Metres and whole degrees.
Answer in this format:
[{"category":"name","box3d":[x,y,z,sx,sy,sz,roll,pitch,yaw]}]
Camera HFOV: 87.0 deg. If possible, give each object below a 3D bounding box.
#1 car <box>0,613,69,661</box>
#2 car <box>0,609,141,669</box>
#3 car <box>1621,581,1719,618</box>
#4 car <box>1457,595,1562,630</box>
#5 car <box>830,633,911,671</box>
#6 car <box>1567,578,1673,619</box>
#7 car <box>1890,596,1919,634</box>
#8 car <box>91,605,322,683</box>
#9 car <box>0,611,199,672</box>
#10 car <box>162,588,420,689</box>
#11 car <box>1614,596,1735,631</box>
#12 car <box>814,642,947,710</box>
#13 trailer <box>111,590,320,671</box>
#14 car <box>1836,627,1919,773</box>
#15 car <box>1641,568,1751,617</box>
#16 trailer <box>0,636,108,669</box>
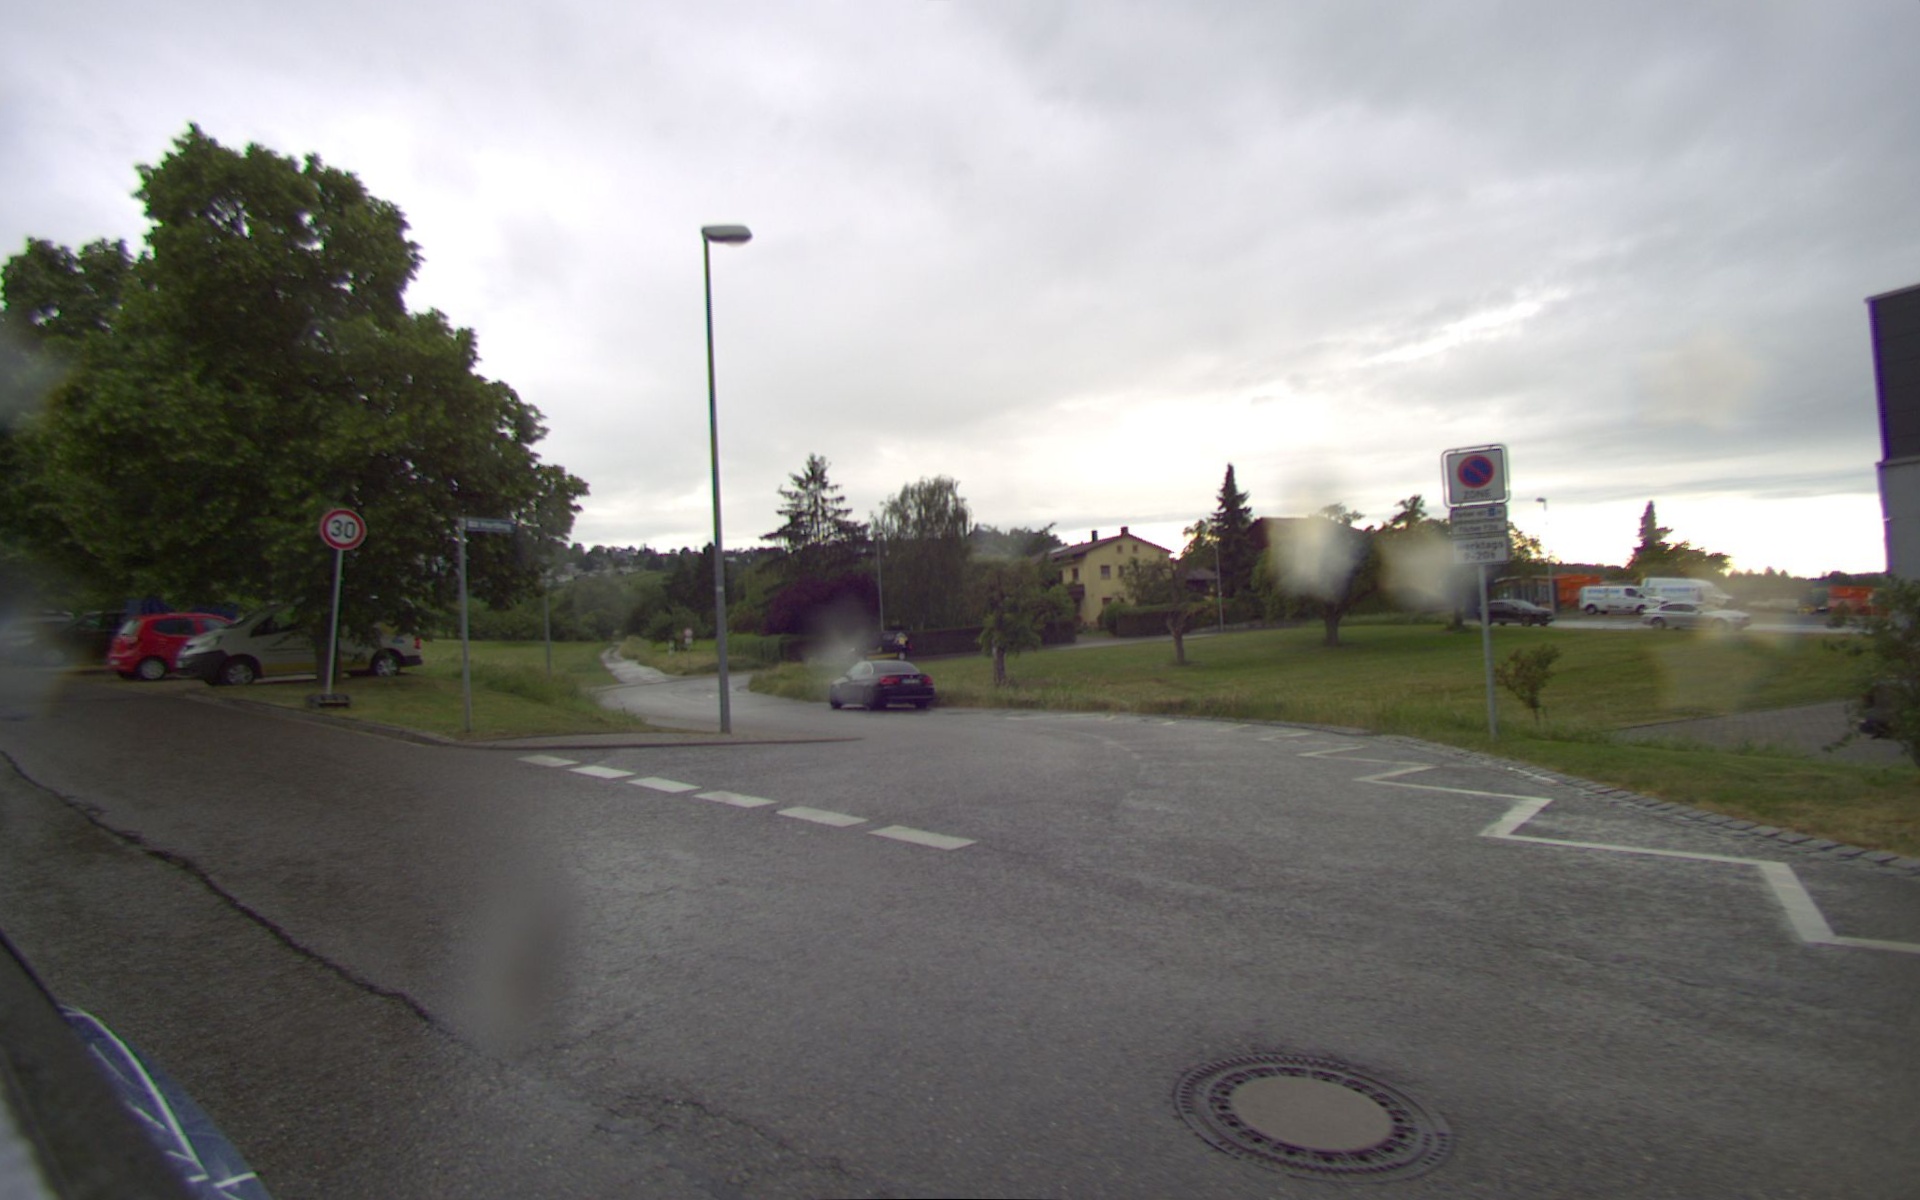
[{"category":"car","box3d":[-35.437,1.316,36.691,2.038,1.735,4.333,0,-1,33]},{"category":"car","box3d":[-28.905,1.191,32.228,2.023,1.734,4.035,-1,1,38]},{"category":"car","box3d":[51.093,0.012,72.984,1.966,2.589,5.447,1,-1,-31]},{"category":"car","box3d":[33.959,0.786,62.772,2.251,1.990,5.440,2,-2,-25]},{"category":"car","box3d":[-5.402,3.138,61.129,4.426,2.237,1.935,3,-3,-31]},{"category":"car","box3d":[45.902,-0.081,70.520,1.966,2.722,5.828,-1,0,-32]},{"category":"car","box3d":[49.716,0.701,51.368,4.637,1.869,2.287,-1,-2,-29]},{"category":"car","box3d":[-18.191,1.020,24.631,1.750,1.735,4.161,0,-1,34]},{"category":"car","box3d":[-26.414,1.212,31.037,1.803,1.602,4.575,-1,1,37]},{"category":"car","box3d":[-14.157,0.788,21.589,1.862,1.920,4.254,-1,-2,42]},{"category":"car","box3d":[37.163,0.751,52.801,2.251,1.661,4.634,2,-3,-25]},{"category":"car","box3d":[-2.360,2.202,28.755,1.966,1.767,4.396,1,-6,-31]},{"category":"trailer","box3d":[-19.864,0.804,27.175,1.771,1.999,4.173,0,-1,37]},{"category":"car","box3d":[14.733,1.218,12.348,2.098,1.937,5.627,0,-3,-27]},{"category":"car","box3d":[53.586,-0.478,73.859,1.965,3.455,6.322,1,-1,-25]},{"category":"trailer","box3d":[-31.126,1.744,33.659,1.995,0.968,3.908,-2,-1,35]}]
